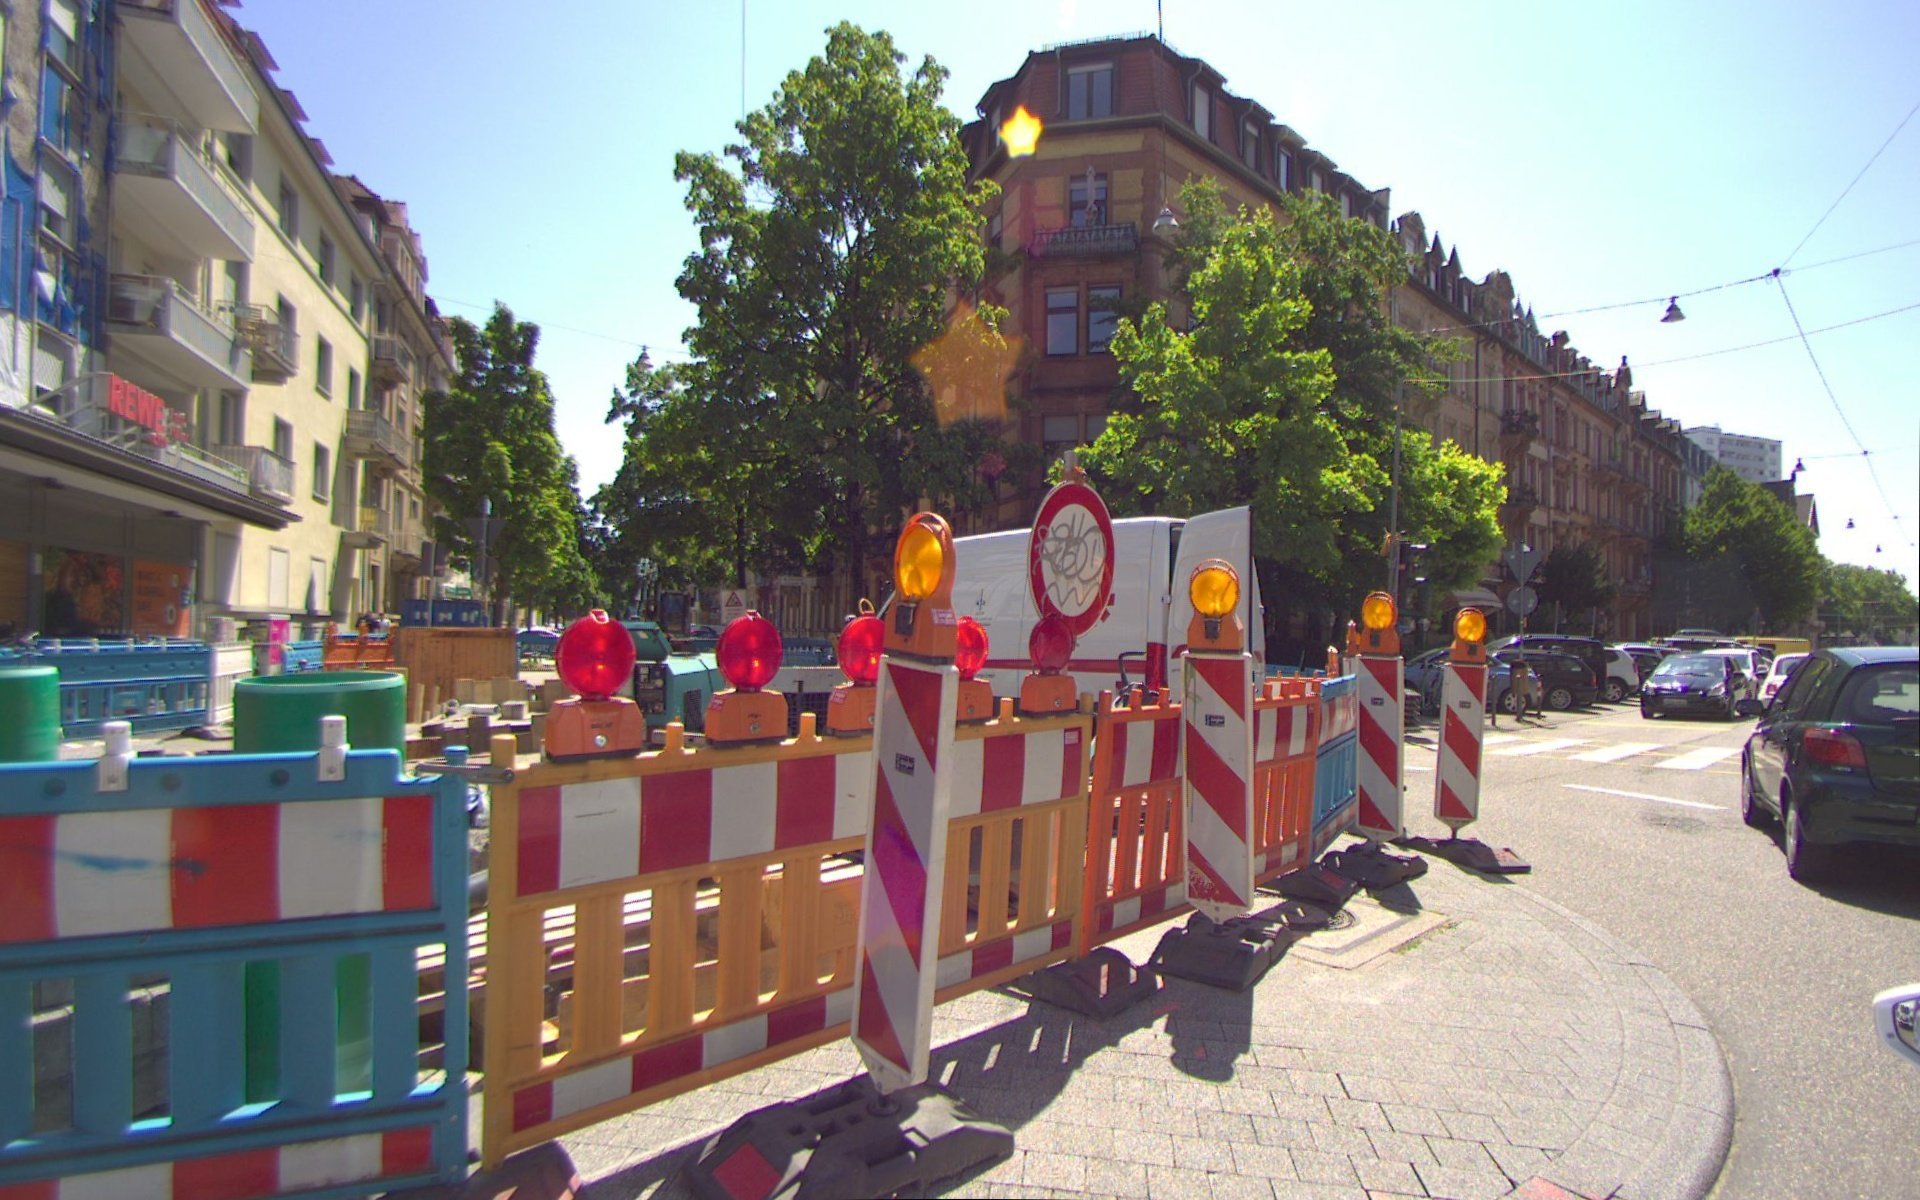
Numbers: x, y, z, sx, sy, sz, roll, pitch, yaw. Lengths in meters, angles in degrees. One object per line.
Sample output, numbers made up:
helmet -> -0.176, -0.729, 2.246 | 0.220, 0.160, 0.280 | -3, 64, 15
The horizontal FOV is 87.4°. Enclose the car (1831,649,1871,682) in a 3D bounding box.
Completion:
car -> 46.357, 3.363, 52.222 | 1.506, 1.613, 3.246 | -1, -2, 42

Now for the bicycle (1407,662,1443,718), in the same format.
bicycle -> 10.043, 1.907, 21.662 | 0.483, 1.096, 1.895 | 2, -1, 31

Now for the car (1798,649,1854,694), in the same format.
car -> 33.079, 2.690, 38.343 | 1.506, 1.613, 3.245 | -1, -2, 43

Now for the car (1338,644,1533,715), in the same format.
car -> 11.288, 1.857, 24.150 | 3.919, 1.394, 2.001 | 2, -1, 15

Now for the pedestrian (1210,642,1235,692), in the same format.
pedestrian -> 6.703, 1.706, 25.664 | 0.546, 1.236, 0.599 | 1, -2, 10

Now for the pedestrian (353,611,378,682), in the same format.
pedestrian -> -17.359, 1.356, 29.318 | 0.497, 2.040, 0.444 | 1, -2, -21

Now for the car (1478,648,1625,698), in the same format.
car -> 19.794, 2.418, 33.751 | 3.844, 1.489, 1.867 | 1, -2, 5

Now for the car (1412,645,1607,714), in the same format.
car -> 13.890, 1.986, 25.639 | 3.919, 1.431, 1.973 | 2, -1, 12

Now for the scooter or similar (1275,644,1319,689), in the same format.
scooter or similar -> 8.807, 1.721, 26.235 | 1.457, 1.135, 0.275 | 3, 0, -38

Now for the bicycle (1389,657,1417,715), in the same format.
bicycle -> 9.633, 1.836, 21.812 | 0.333, 1.172, 1.617 | 2, -1, 31

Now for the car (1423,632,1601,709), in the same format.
car -> 15.074, 1.882, 27.634 | 3.919, 1.828, 1.770 | 2, -1, 15

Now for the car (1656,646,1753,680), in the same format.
car -> 39.759, 3.321, 53.755 | 3.799, 1.661, 1.785 | 1, -2, 21

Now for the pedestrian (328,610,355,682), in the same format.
pedestrian -> -17.867, 1.330, 29.002 | 0.537, 2.040, 0.411 | 1, -2, -21

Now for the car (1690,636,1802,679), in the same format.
car -> 43.555, 3.145, 55.779 | 4.481, 2.216, 2.001 | 1, -2, 17

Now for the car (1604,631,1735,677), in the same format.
car -> 34.064, 2.583, 48.378 | 4.692, 2.020, 2.055 | 1, -2, 16

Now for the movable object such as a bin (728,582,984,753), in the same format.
movable object such as a bin -> -1.969, 1.087, 18.228 | 4.488, 2.694, 1.946 | 2, -1, 39

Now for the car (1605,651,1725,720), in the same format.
car -> 16.774, 1.962, 23.838 | 1.736, 1.463, 3.976 | -2, -3, 44

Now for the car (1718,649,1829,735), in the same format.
car -> 16.283, 1.763, 20.067 | 1.506, 1.541, 3.245 | -1, -2, 43

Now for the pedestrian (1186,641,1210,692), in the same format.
pedestrian -> 5.914, 1.657, 24.995 | 0.546, 1.236, 0.599 | 1, -2, 10

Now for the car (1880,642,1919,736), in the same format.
car -> 19.591, 1.720, 19.896 | 1.852, 1.735, 4.477 | -3, -4, 44

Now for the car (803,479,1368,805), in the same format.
car -> 1.059, 0.494, 11.793 | 2.364, 2.787, 6.557 | 4, -4, -44

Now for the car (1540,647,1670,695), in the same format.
car -> 24.529, 2.687, 38.350 | 3.846, 1.640, 1.866 | 1, -2, 21

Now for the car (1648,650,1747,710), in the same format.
car -> 22.056, 2.352, 29.980 | 1.737, 1.666, 4.351 | -5, -6, 44

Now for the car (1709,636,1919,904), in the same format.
car -> 6.508, 1.042, 7.005 | 1.589, 1.505, 3.236 | 1, -2, 29

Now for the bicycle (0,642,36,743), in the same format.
bicycle -> -11.094, 1.027, 11.412 | 1.546, 1.086, 0.342 | 0, -2, 28

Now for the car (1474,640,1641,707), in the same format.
car -> 17.409, 2.103, 29.466 | 3.922, 1.680, 1.760 | 2, -1, 21

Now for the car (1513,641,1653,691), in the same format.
car -> 22.337, 2.360, 36.139 | 3.844, 1.640, 1.867 | 1, -2, 4

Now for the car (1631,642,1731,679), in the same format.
car -> 37.254, 3.111, 52.018 | 3.846, 1.731, 1.866 | 1, -2, 21

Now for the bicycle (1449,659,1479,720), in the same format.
bicycle -> 10.848, 1.898, 21.600 | 0.483, 1.188, 1.682 | 2, -1, 29

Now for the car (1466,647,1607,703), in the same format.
car -> 17.961, 2.310, 31.453 | 3.559, 1.477, 1.625 | 2, -1, 19

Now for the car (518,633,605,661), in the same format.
car -> -19.731, 2.340, 49.917 | 3.940, 1.280, 1.620 | 2, -2, -20
